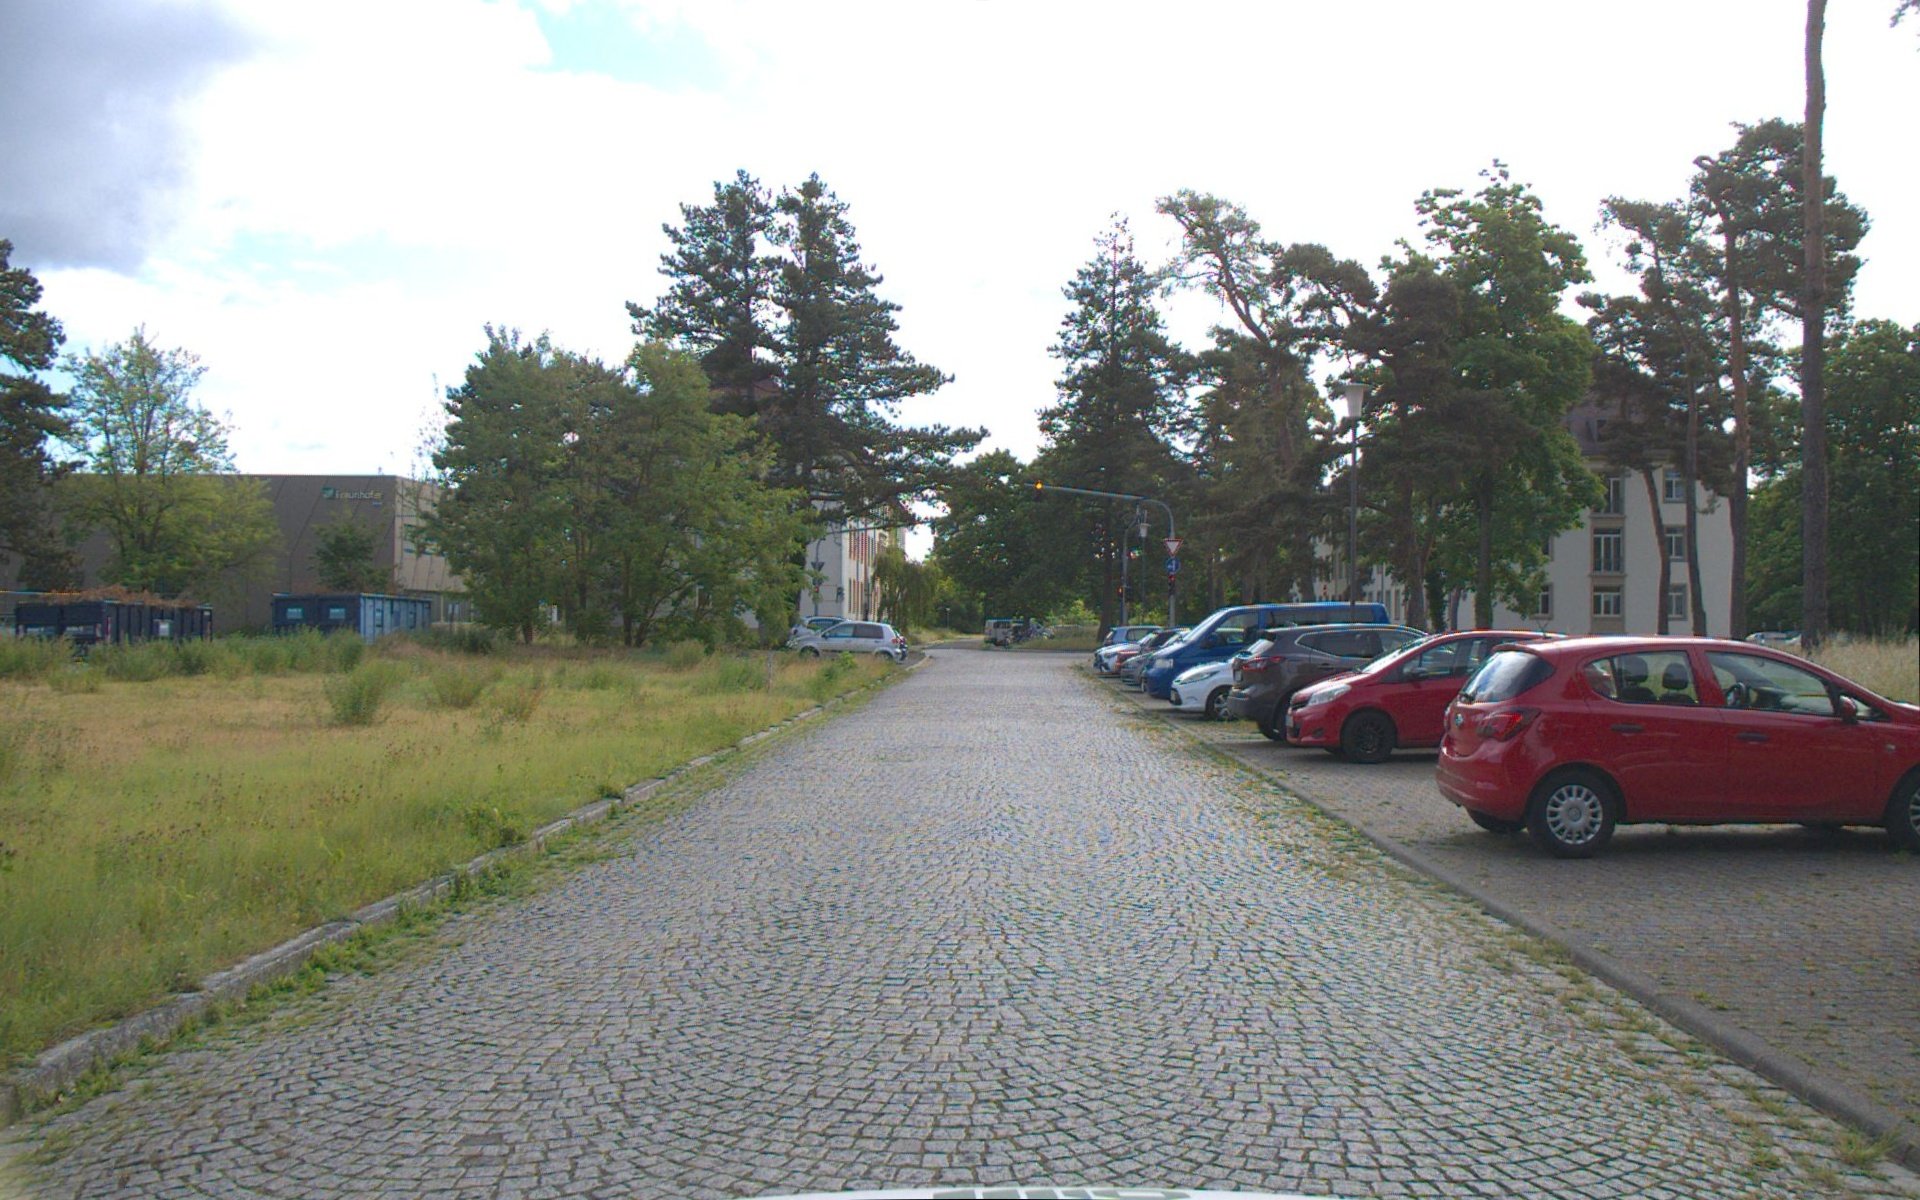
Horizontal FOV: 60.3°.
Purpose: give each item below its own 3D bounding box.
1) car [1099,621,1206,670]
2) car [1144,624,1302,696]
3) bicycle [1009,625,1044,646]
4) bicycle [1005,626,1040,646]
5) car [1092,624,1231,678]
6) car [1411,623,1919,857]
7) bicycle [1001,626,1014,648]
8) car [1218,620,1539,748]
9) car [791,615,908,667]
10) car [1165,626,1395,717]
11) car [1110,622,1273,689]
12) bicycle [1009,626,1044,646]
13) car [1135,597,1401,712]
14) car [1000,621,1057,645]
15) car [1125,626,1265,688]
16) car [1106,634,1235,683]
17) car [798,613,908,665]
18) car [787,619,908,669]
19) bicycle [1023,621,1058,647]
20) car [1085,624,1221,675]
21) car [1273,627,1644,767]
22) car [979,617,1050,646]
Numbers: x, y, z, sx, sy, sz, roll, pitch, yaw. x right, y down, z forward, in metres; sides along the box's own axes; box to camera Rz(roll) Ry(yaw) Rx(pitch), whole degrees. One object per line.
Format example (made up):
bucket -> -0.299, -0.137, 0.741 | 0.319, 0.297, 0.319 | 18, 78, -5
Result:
car -> 6.373, 1.506, 54.969 | 3.322, 1.570, 1.390 | 0, -1, -5
car -> 5.770, 1.310, 36.515 | 3.225, 1.531, 1.664 | 0, -1, -1
bicycle -> 4.188, 2.261, 103.996 | 2.118, 1.290, 0.811 | 1, -1, -5
bicycle -> 3.991, 2.302, 105.801 | 2.118, 1.290, 0.811 | 1, -1, -5
car -> 6.023, 1.509, 49.654 | 3.908, 1.570, 1.662 | 0, -1, -5
car -> 5.402, 0.958, 12.029 | 3.760, 1.532, 1.738 | -1, -1, 0
bicycle -> 2.876, 2.227, 100.260 | 0.793, 1.290, 1.973 | 1, -1, 2
car -> 5.551, 1.093, 22.250 | 3.869, 1.608, 1.762 | 1, -1, 0
car -> -3.804, 1.404, 56.841 | 3.909, 1.736, 1.998 | 0, -1, -5
car -> 5.494, 1.215, 28.684 | 3.647, 1.449, 1.654 | -1, -1, -2
car -> 5.513, 1.316, 39.523 | 3.532, 1.533, 1.660 | 0, -1, -10
bicycle -> 4.197, 2.277, 104.583 | 2.118, 1.290, 0.811 | 1, -1, -5
car -> 5.738, 1.014, 31.159 | 4.685, 2.075, 1.738 | 0, -1, -1
car -> 4.897, 2.385, 118.533 | 3.909, 1.673, 1.998 | 1, -1, -5
car -> 6.024, 1.455, 42.484 | 3.232, 1.531, 1.660 | 0, -1, -10
car -> 5.725, 1.583, 45.111 | 3.227, 1.289, 1.662 | 0, -1, -5
car -> -3.898, 1.410, 59.928 | 3.910, 1.780, 1.924 | 1, -1, -6
car -> -3.702, 1.439, 54.350 | 3.909, 1.579, 1.998 | 0, -1, -5
bicycle -> 5.126, 2.144, 105.278 | 2.118, 1.644, 0.811 | 1, -1, -5
car -> 6.092, 1.563, 52.403 | 4.042, 1.570, 1.662 | 0, -1, -5
car -> 5.826, 1.112, 19.648 | 3.904, 1.545, 1.738 | 0, -1, 1
car -> 4.025, 2.309, 121.830 | 4.957, 2.049, 1.996 | 1, -1, -9
